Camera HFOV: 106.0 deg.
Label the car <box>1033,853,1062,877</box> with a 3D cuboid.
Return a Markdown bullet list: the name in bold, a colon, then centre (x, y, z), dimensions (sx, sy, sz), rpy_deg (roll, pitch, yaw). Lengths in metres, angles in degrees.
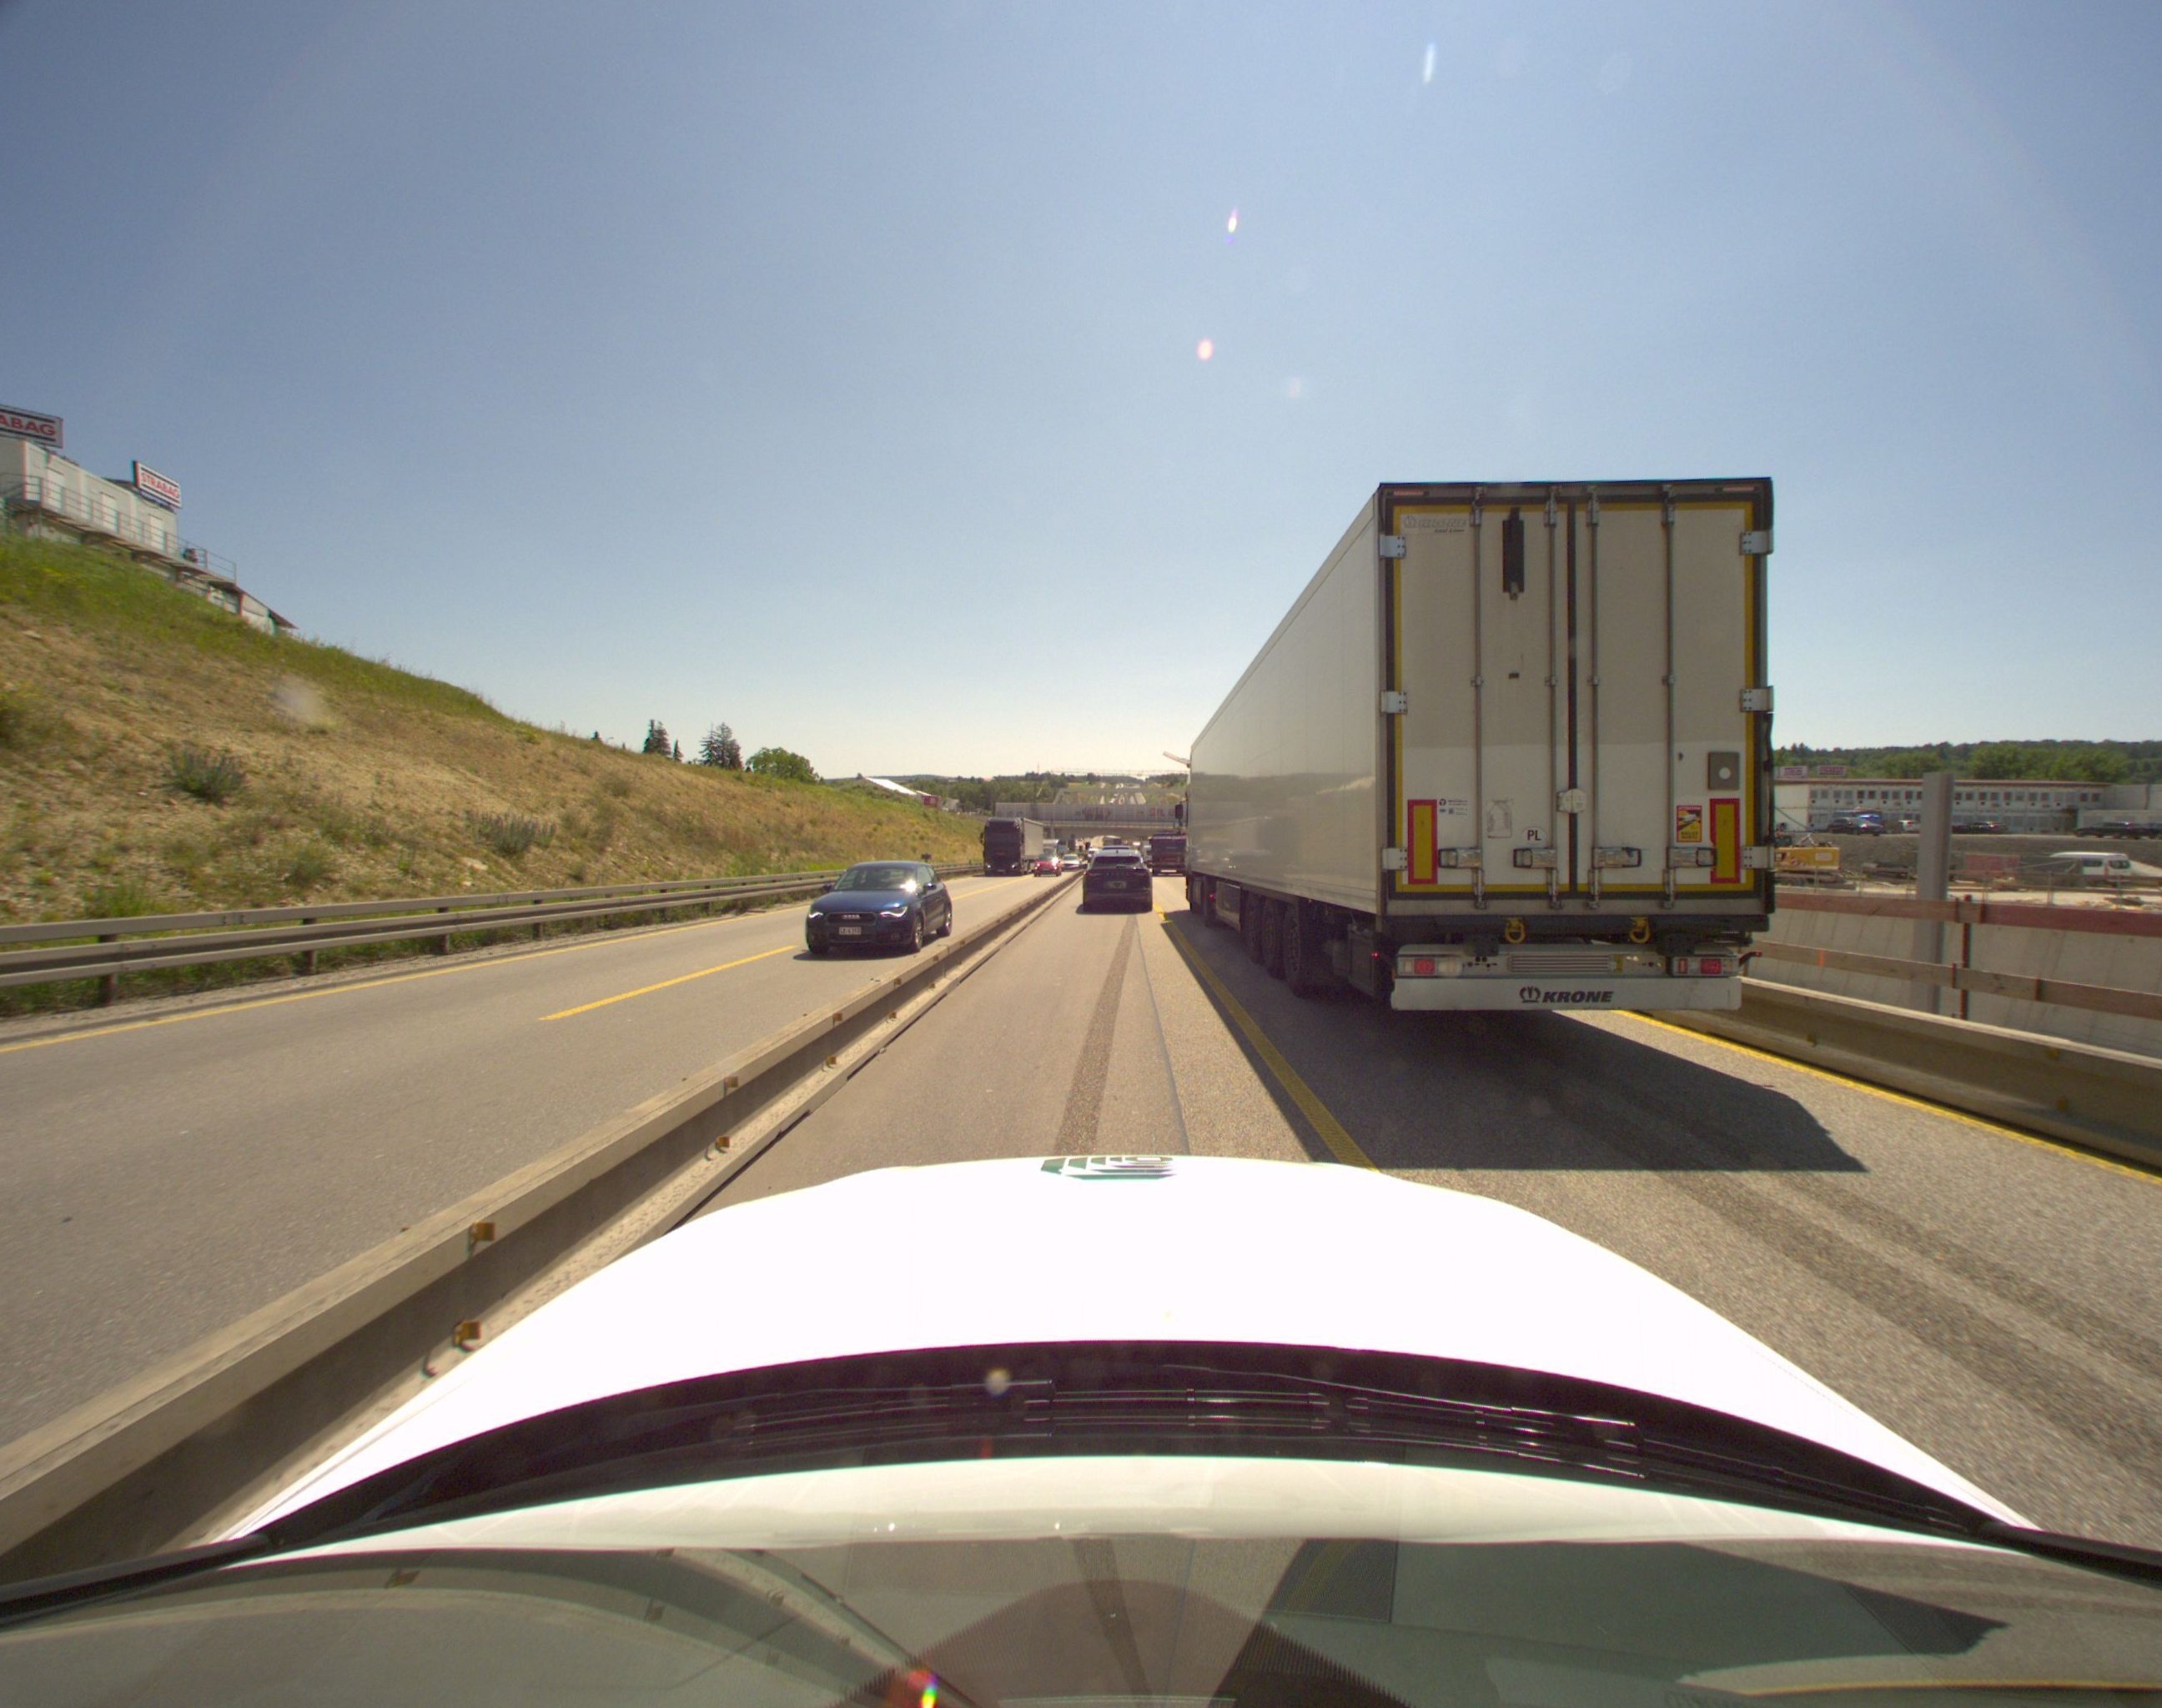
- **car**: centre (-2.163, 0.715, 53.428), dimensions (1.584, 1.487, 3.297), rpy_deg (-1, 0, 2)

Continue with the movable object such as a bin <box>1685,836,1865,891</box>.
- **movable object such as a bin**: centre (40.025, 0.461, 47.587), dimensions (2.876, 2.909, 9.487), rpy_deg (0, 0, 3)

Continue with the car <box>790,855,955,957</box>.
- **car**: centre (-3.294, 0.756, 13.620), dimensions (1.678, 1.430, 3.851), rpy_deg (-1, 0, 1)

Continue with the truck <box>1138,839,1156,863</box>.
- **truck**: centre (12.342, -0.586, 153.218), dimensions (3.162, 4.318, 9.265), rpy_deg (0, 0, 3)

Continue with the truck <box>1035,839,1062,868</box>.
- **truck**: centre (-3.251, -0.033, 82.325), dimensions (2.259, 2.882, 5.855), rpy_deg (0, 0, 2)

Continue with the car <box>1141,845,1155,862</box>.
- **car**: centre (9.226, -0.131, 112.450), dimensions (1.655, 2.269, 3.797), rpy_deg (1, 0, 1)

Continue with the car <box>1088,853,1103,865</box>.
- **car**: centre (1.844, 0.638, 100.622), dimensions (1.659, 1.428, 4.004), rpy_deg (-1, 0, 3)

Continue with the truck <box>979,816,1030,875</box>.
- **truck**: centre (-5.151, -0.560, 55.606), dimensions (2.756, 3.884, 4.967), rpy_deg (0, 0, 2)

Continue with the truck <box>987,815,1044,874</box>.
- **truck**: centre (-4.837, -0.698, 63.217), dimensions (2.756, 4.087, 13.814), rpy_deg (0, 0, 2)

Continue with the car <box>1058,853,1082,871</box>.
- **car**: centre (-0.913, 0.680, 69.504), dimensions (1.819, 1.487, 4.198), rpy_deg (-1, 0, 2)

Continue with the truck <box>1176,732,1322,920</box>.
- **truck**: centre (3.906, -0.607, 20.046), dimensions (2.765, 4.058, 4.907), rpy_deg (0, 0, 2)

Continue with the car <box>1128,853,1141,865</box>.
- **car**: centre (6.439, 0.614, 98.465), dimensions (1.486, 1.330, 3.245), rpy_deg (1, 0, 1)

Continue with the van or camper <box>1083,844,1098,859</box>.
- **van or camper**: centre (1.585, -0.339, 135.454), dimensions (2.206, 2.481, 4.756), rpy_deg (0, 0, 4)

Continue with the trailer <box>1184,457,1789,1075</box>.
- **trailer**: centre (3.556, -0.576, 12.438), dimensions (2.790, 4.058, 14.126), rpy_deg (0, 0, 3)

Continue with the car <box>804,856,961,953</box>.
- **car**: centre (-3.202, 0.747, 13.838), dimensions (1.683, 1.403, 3.687), rpy_deg (-1, 0, 1)

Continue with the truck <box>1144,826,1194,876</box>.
- **truck**: centre (6.034, -0.234, 57.699), dimensions (2.802, 3.135, 12.847), rpy_deg (0, 0, 3)

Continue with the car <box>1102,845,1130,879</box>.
- **car**: centre (1.895, 0.415, 43.979), dimensions (1.469, 1.795, 3.300), rpy_deg (0, 0, 3)

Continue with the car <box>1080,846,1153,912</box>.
- **car**: centre (0.953, 0.611, 21.985), dimensions (1.793, 1.620, 3.299), rpy_deg (-1, 0, 2)

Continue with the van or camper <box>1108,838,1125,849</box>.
- **van or camper**: centre (11.130, -3.273, 256.891), dimensions (3.941, 3.419, 8.383), rpy_deg (0, 1, -8)

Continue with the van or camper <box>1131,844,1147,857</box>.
- **van or camper**: centre (15.803, -0.879, 222.227), dimensions (3.928, 3.419, 8.410), rpy_deg (0, 1, 2)
